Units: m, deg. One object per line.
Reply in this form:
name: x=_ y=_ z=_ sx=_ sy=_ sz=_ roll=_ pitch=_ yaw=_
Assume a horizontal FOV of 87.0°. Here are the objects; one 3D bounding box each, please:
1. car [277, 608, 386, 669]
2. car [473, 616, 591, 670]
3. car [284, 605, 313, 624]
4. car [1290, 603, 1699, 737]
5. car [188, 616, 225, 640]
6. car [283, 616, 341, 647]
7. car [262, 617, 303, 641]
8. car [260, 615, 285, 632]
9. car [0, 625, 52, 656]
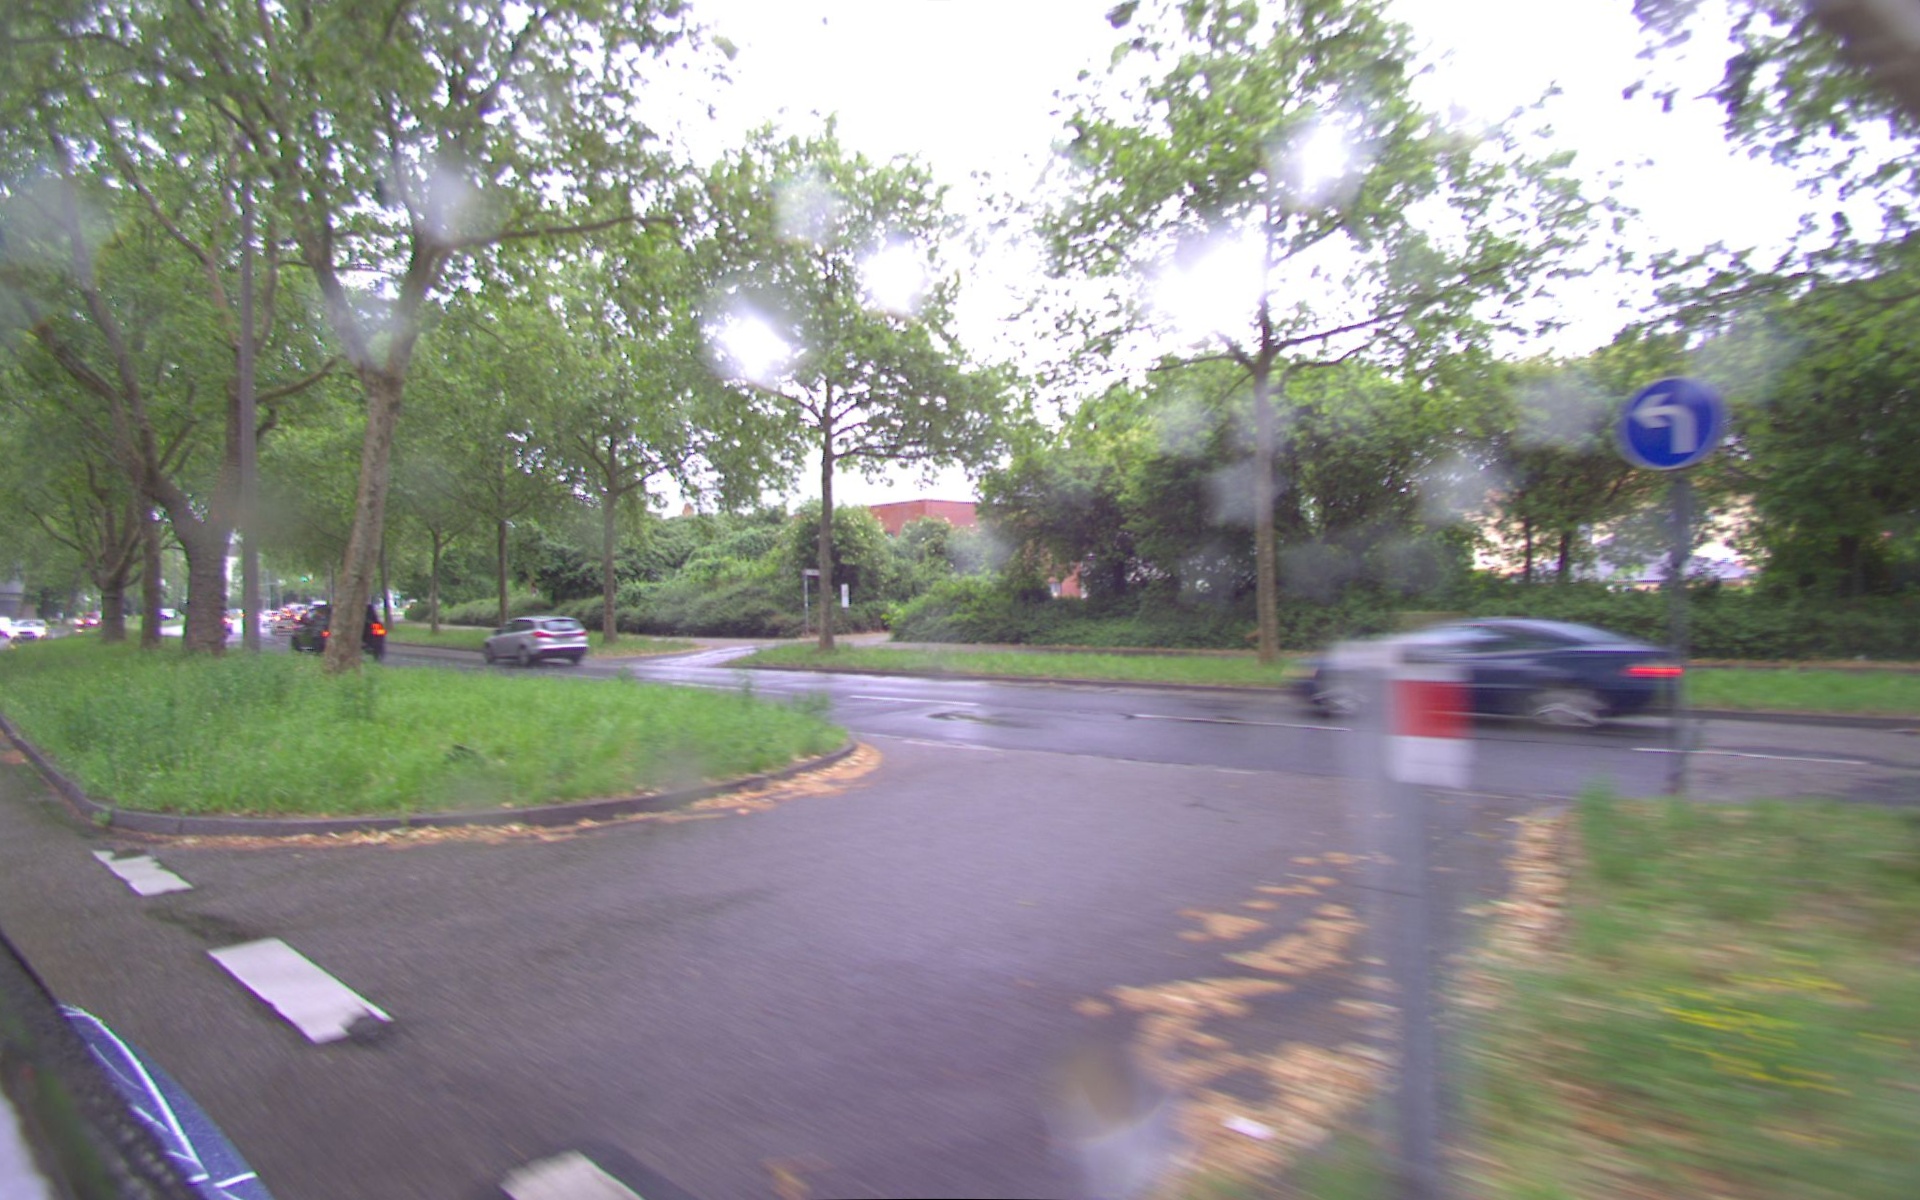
car: x=-21.127 y=1.234 z=33.938 sx=5.119 sy=1.855 sz=1.725 roll=-1 pitch=0 yaw=42
car: x=-13.210 y=1.278 z=31.146 sx=4.234 sy=1.487 sz=1.725 roll=-1 pitch=0 yaw=42
car: x=-81.640 y=1.738 z=124.900 sx=2.001 sy=2.243 sz=5.452 roll=-1 pitch=0 yaw=-23
car: x=6.835 y=0.867 z=13.238 sx=4.441 sy=1.450 sz=1.726 roll=-3 pitch=-1 yaw=40
car: x=-53.661 y=1.953 z=72.071 sx=1.722 sy=1.603 sz=4.336 roll=-1 pitch=0 yaw=-42
car: x=-34.965 y=1.673 z=54.544 sx=4.211 sy=1.603 sz=1.724 roll=-1 pitch=0 yaw=44
car: x=-46.523 y=1.965 z=69.463 sx=1.722 sy=1.487 sz=4.088 roll=-1 pitch=0 yaw=-42
car: x=-64.480 y=2.165 z=94.967 sx=1.719 sy=1.470 sz=3.853 roll=-1 pitch=0 yaw=-30
car: x=-57.282 y=2.453 z=61.997 sx=1.967 sy=1.641 sz=4.533 roll=-2 pitch=1 yaw=-36
